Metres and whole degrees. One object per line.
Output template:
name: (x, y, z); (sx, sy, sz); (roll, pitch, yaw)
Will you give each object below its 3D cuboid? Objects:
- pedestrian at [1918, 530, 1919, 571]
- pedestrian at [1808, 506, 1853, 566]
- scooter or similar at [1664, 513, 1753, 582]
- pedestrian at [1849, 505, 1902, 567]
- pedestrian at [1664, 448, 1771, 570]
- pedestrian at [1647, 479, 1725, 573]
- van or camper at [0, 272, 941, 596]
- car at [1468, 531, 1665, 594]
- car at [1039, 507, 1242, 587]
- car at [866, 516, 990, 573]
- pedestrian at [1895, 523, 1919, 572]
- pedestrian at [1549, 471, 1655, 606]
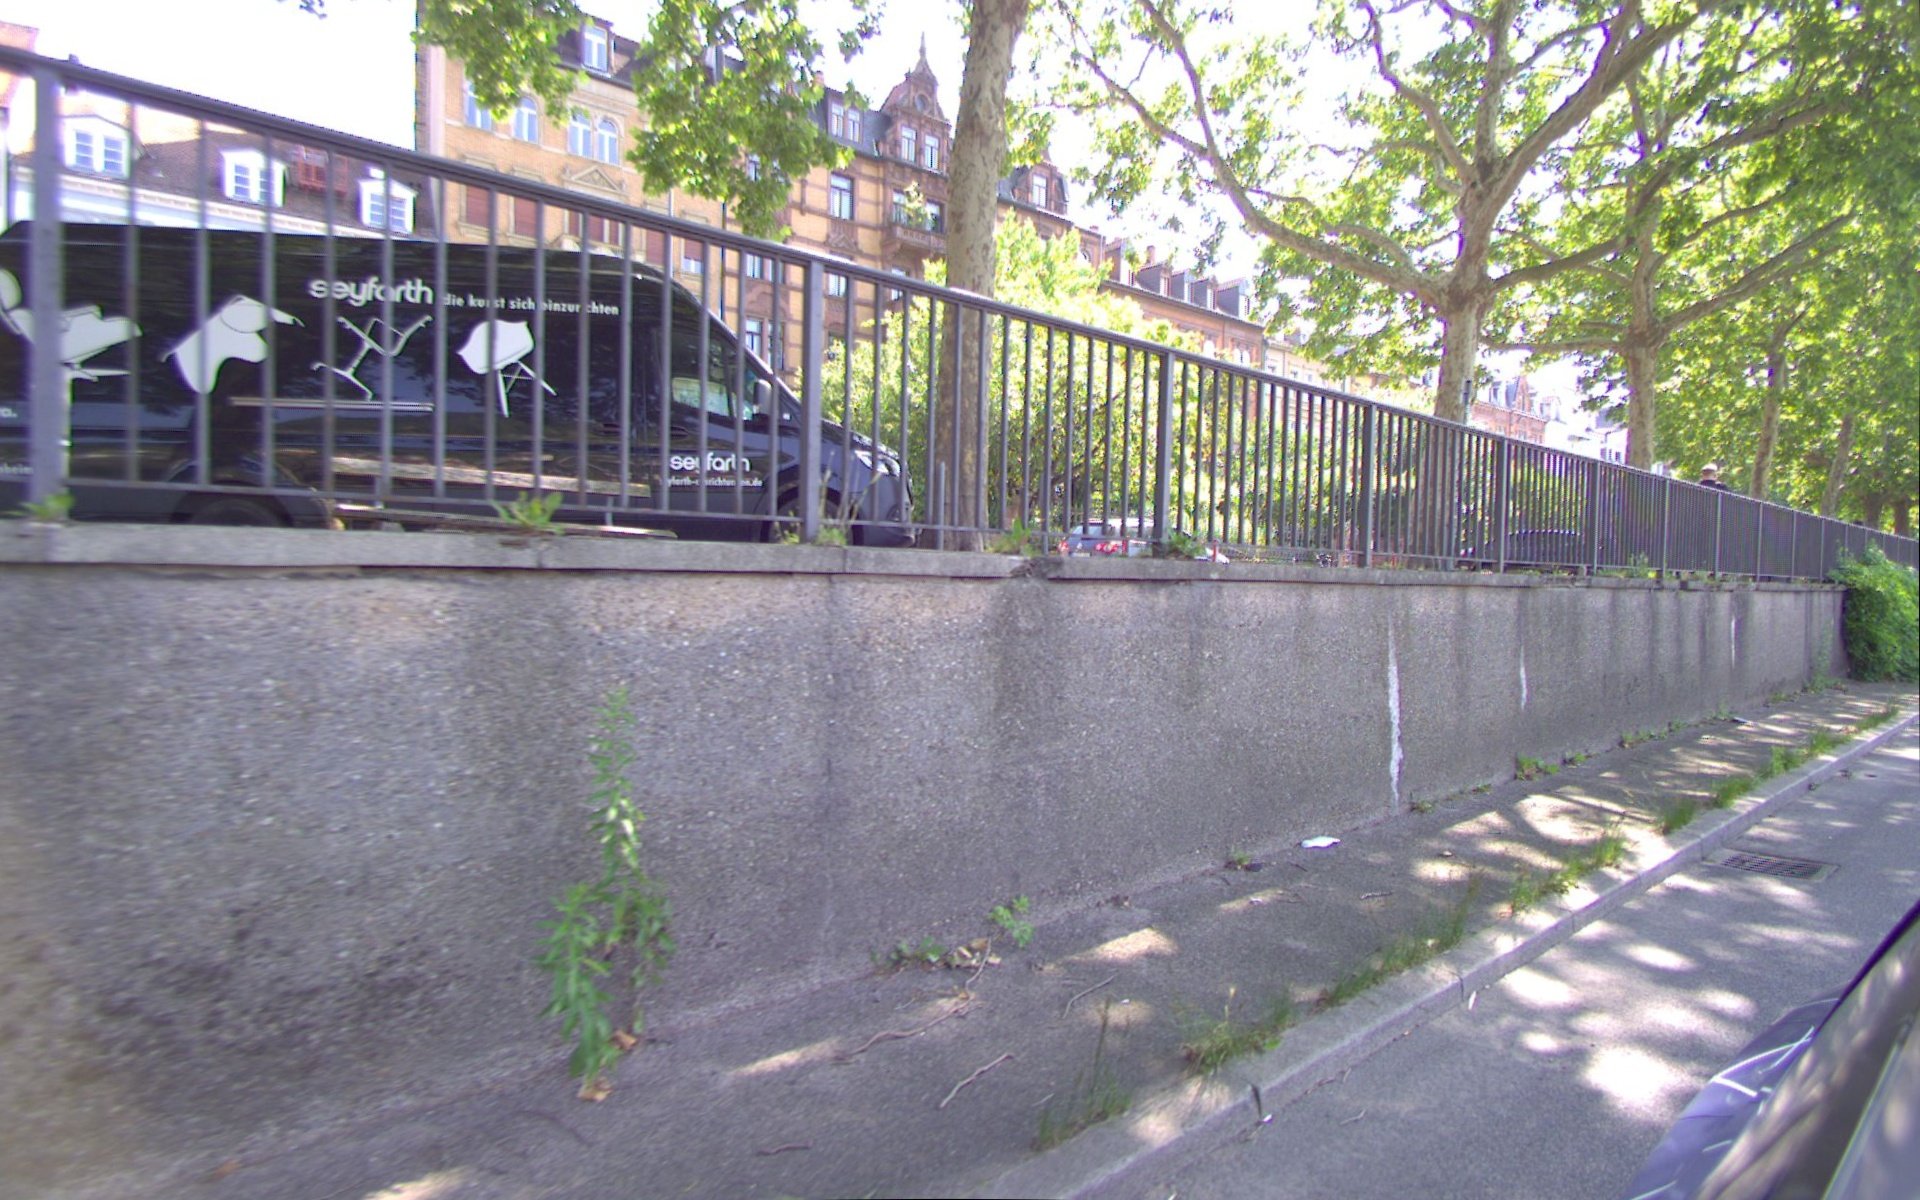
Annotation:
pedestrian: (33.668, -1.714, 35.106); (0.584, 1.437, 0.580); (2, 2, 42)
pedestrian: (20.894, -1.532, 24.290); (0.781, 1.382, 0.645); (0, 4, -42)
scooter or similar: (11.889, -0.829, 16.072); (1.088, 1.038, 0.857); (0, 4, -41)
pedestrian: (21.186, -1.470, 23.420); (0.800, 1.382, 0.754); (0, 4, -42)
pedestrian: (10.602, -1.256, 14.164); (1.010, 1.598, 0.938); (0, 4, -42)
pedestrian: (11.132, -1.128, 15.521); (0.972, 1.382, 0.682); (0, 4, -41)
van or camper: (-3.943, -1.243, 8.737); (7.205, 2.212, 2.349); (-1, 0, -11)
car: (13.790, -0.894, 23.183); (1.484, 1.250, 3.541); (1, 4, -30)
car: (3.950, -1.099, 21.805); (4.348, 1.531, 1.842); (0, 3, -38)
car: (-1.020, -1.614, 30.416); (1.759, 1.556, 3.793); (1, 1, -40)
pedestrian: (33.222, -1.838, 35.445); (0.646, 1.660, 0.617); (2, 2, 42)
pedestrian: (7.209, -0.679, 11.355); (0.933, 1.442, 0.682); (0, 4, -41)
